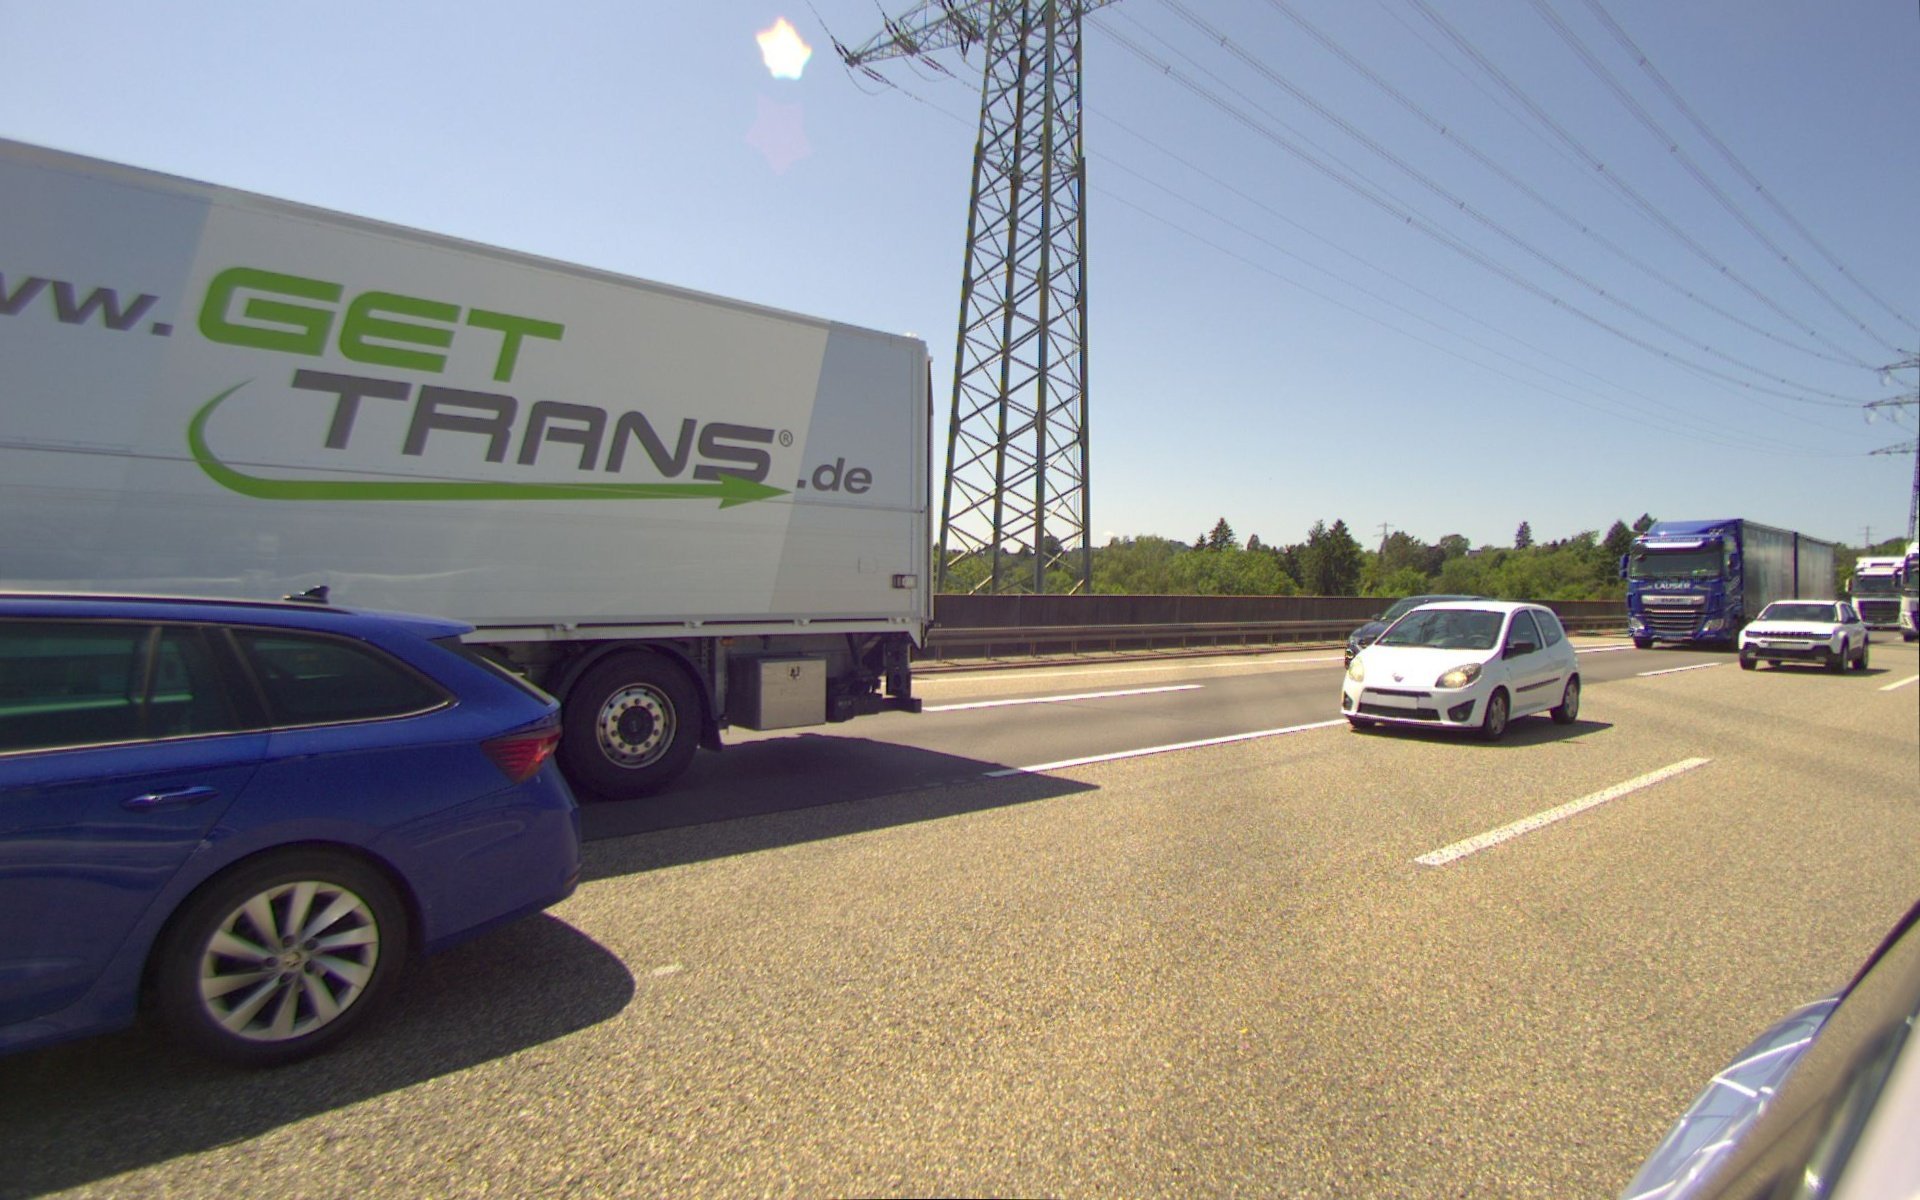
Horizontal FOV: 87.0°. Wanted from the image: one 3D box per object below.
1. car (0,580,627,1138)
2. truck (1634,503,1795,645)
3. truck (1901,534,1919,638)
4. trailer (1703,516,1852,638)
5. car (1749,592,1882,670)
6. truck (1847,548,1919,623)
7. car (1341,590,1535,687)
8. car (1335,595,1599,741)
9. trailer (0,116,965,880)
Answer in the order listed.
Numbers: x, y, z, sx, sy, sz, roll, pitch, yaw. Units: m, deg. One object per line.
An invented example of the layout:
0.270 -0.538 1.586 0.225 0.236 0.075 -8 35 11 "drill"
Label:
-3.453 0.669 2.947 4.423 1.458 1.712 0 0 -42 "car"
24.148 -0.737 32.206 7.788 4.018 2.515 0 0 -41 "truck"
39.798 -0.569 40.176 6.624 3.941 2.911 -1 0 -42 "truck"
31.109 -0.822 38.272 10.696 4.044 2.541 -1 0 -41 "trailer"
18.721 0.610 22.105 3.688 1.554 1.720 0 0 -42 "car"
51.503 -0.785 55.919 6.624 3.941 2.911 -1 0 -42 "truck"
8.487 0.596 17.832 3.820 1.524 1.708 0 0 -41 "car"
6.051 0.676 11.926 3.566 1.458 1.582 0 0 -41 "car"
-3.922 -0.489 7.307 8.148 3.640 2.848 0 0 -42 "trailer"
